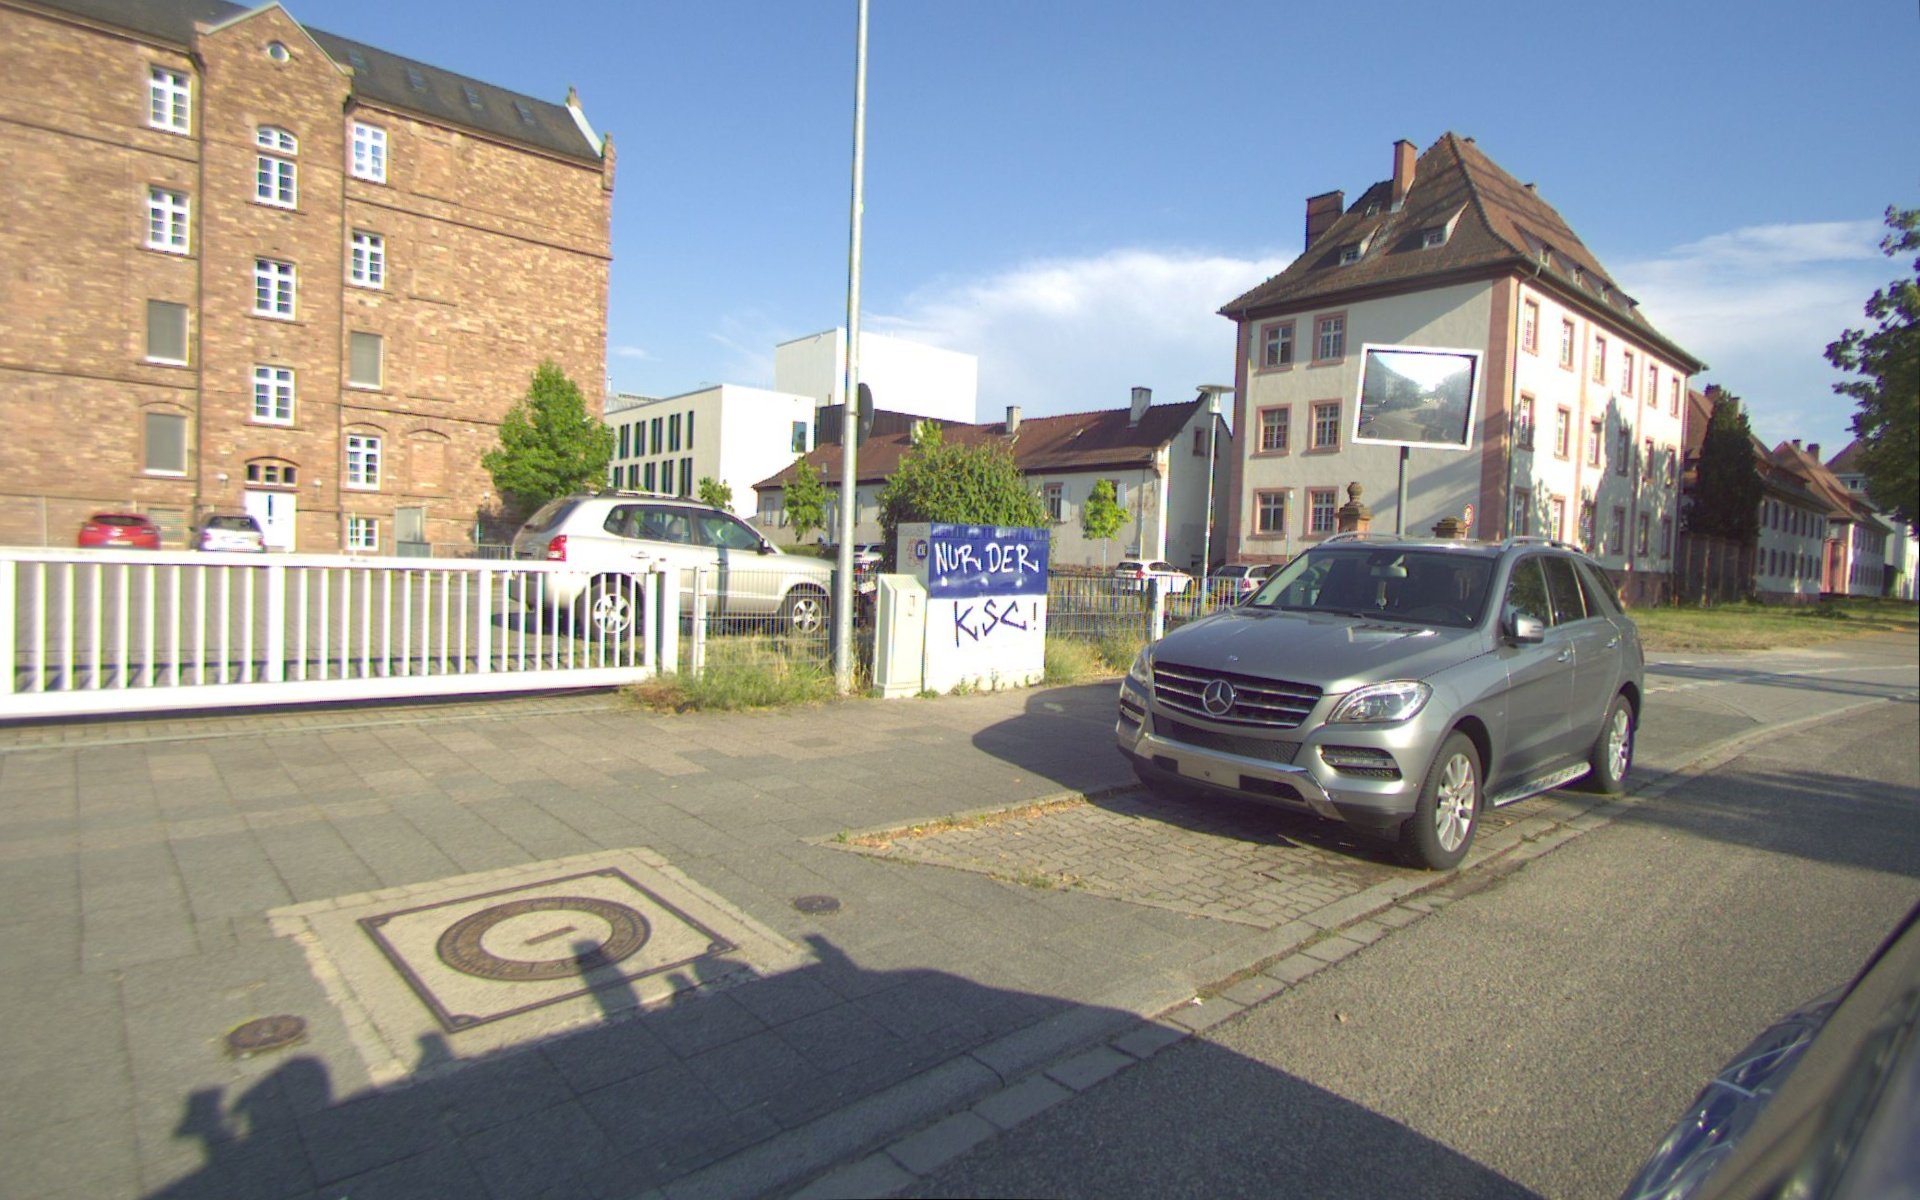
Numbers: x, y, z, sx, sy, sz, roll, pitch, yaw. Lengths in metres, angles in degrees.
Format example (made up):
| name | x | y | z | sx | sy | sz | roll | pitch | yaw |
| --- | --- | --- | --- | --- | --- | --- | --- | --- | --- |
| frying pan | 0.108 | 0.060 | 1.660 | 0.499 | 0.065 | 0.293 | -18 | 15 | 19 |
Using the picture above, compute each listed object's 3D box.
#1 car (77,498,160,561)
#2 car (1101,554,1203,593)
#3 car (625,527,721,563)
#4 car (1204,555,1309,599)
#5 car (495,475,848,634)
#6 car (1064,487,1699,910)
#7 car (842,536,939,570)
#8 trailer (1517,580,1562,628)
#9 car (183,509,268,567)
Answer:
| name | x | y | z | sx | sy | sz | roll | pitch | yaw |
| --- | --- | --- | --- | --- | --- | --- | --- | --- | --- |
| car | -24.104 | -1.947 | 28.948 | 1.702 | 1.621 | 4.484 | -1 | 2 | -41 |
| car | 7.563 | -1.052 | 39.769 | 3.933 | 1.471 | 1.996 | -2 | 2 | -43 |
| car | -13.643 | -2.591 | 48.186 | 3.928 | 1.638 | 1.998 | -2 | 2 | -39 |
| car | 10.463 | -0.826 | 35.606 | 3.933 | 1.471 | 1.793 | -2 | 2 | -43 |
| car | -3.477 | -0.545 | 12.655 | 3.933 | 1.682 | 1.655 | -2 | 2 | -43 |
| car | 3.034 | 0.304 | 6.679 | 4.729 | 1.799 | 1.926 | -2 | 7 | -42 |
| car | -3.663 | -2.465 | 53.888 | 4.884 | 1.734 | 1.998 | -2 | 2 | -40 |
| trailer | 13.718 | 0.082 | 23.948 | 1.244 | 1.080 | 0.483 | -1 | 2 | -39 |
| car | -22.316 | -1.819 | 30.689 | 1.702 | 1.621 | 4.484 | -1 | 2 | -41 |
